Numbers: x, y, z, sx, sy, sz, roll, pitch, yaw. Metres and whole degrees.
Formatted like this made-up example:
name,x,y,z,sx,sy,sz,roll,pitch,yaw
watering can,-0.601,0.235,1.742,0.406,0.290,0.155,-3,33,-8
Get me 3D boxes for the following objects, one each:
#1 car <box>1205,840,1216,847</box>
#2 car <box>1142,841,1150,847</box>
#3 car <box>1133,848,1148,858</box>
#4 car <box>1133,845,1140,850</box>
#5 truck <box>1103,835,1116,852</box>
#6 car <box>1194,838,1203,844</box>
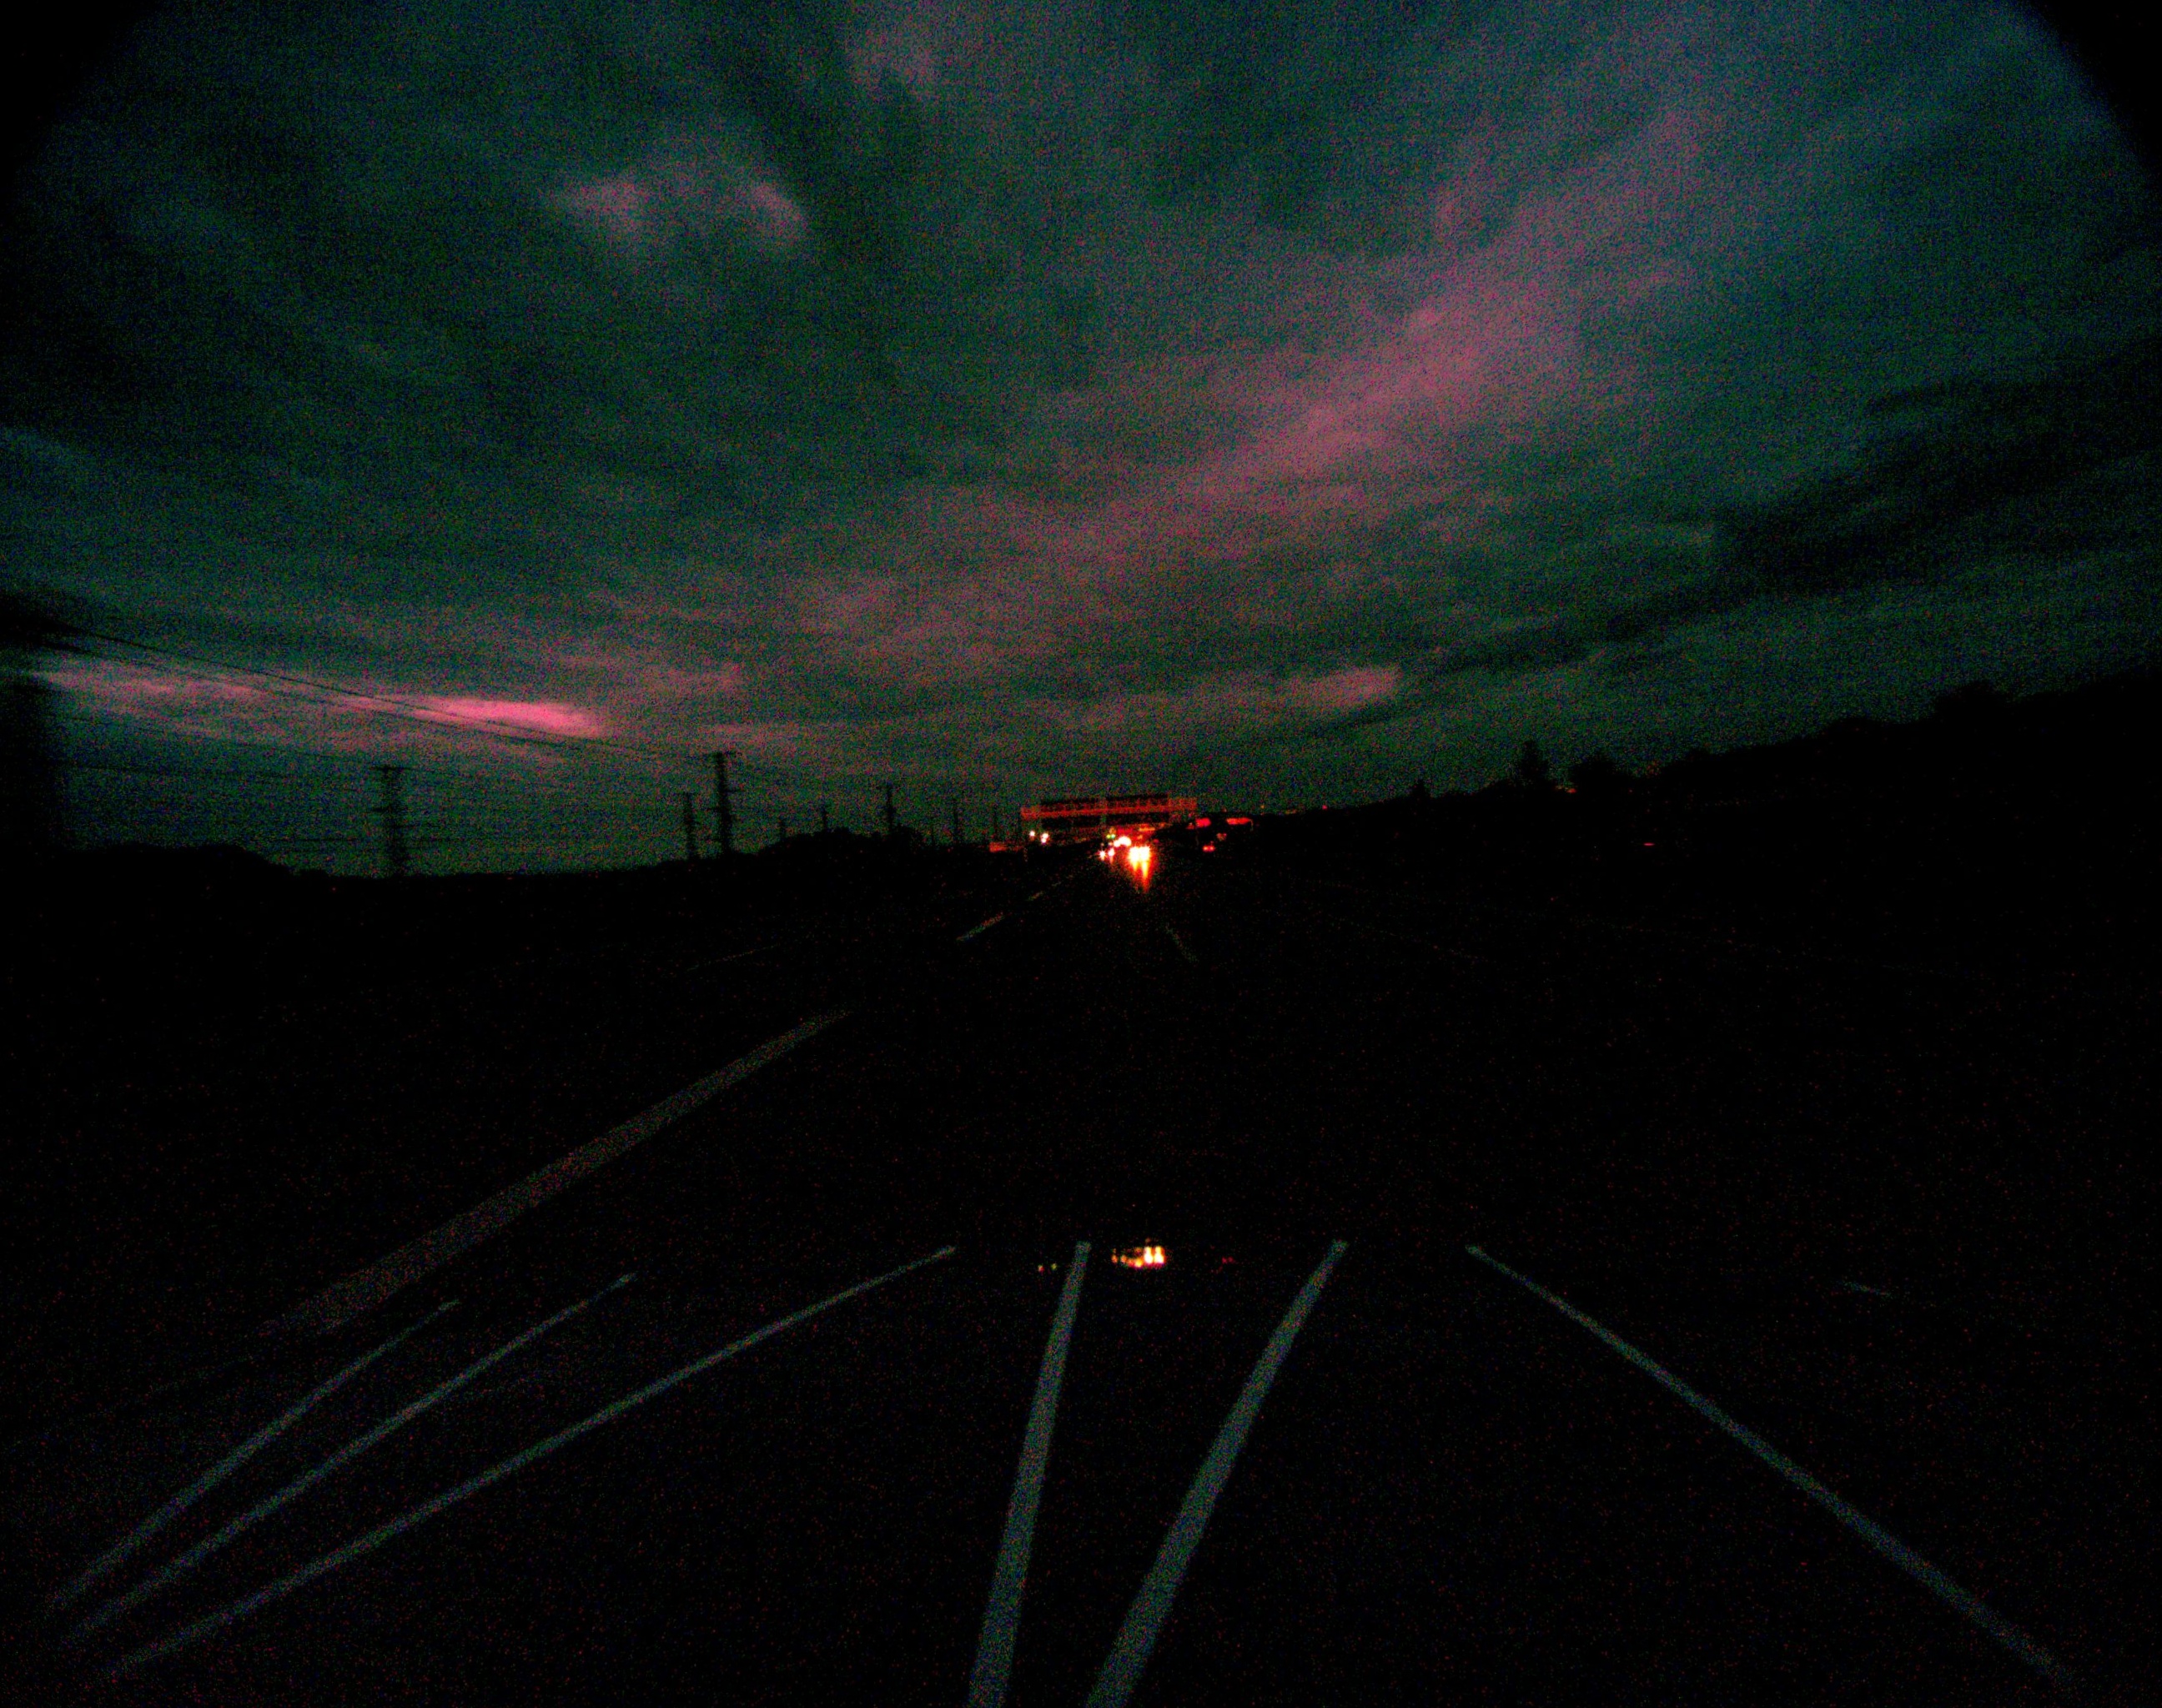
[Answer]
name,x,y,z,sx,sy,sz,roll,pitch,yaw
car,27.747,-2.280,163.191,1.693,1.393,4.429,-5,2,4
car,17.465,-2.674,204.433,1.998,1.342,4.175,-4,1,2
car,8.141,-0.186,104.752,1.998,1.342,4.175,0,1,3
car,16.345,-1.980,224.791,1.998,1.342,4.175,-4,1,4
truck,7.369,-2.545,194.711,3.059,4.047,10.523,-2,0,3
car,30.392,-3.440,196.435,1.693,1.393,4.429,-5,2,4
